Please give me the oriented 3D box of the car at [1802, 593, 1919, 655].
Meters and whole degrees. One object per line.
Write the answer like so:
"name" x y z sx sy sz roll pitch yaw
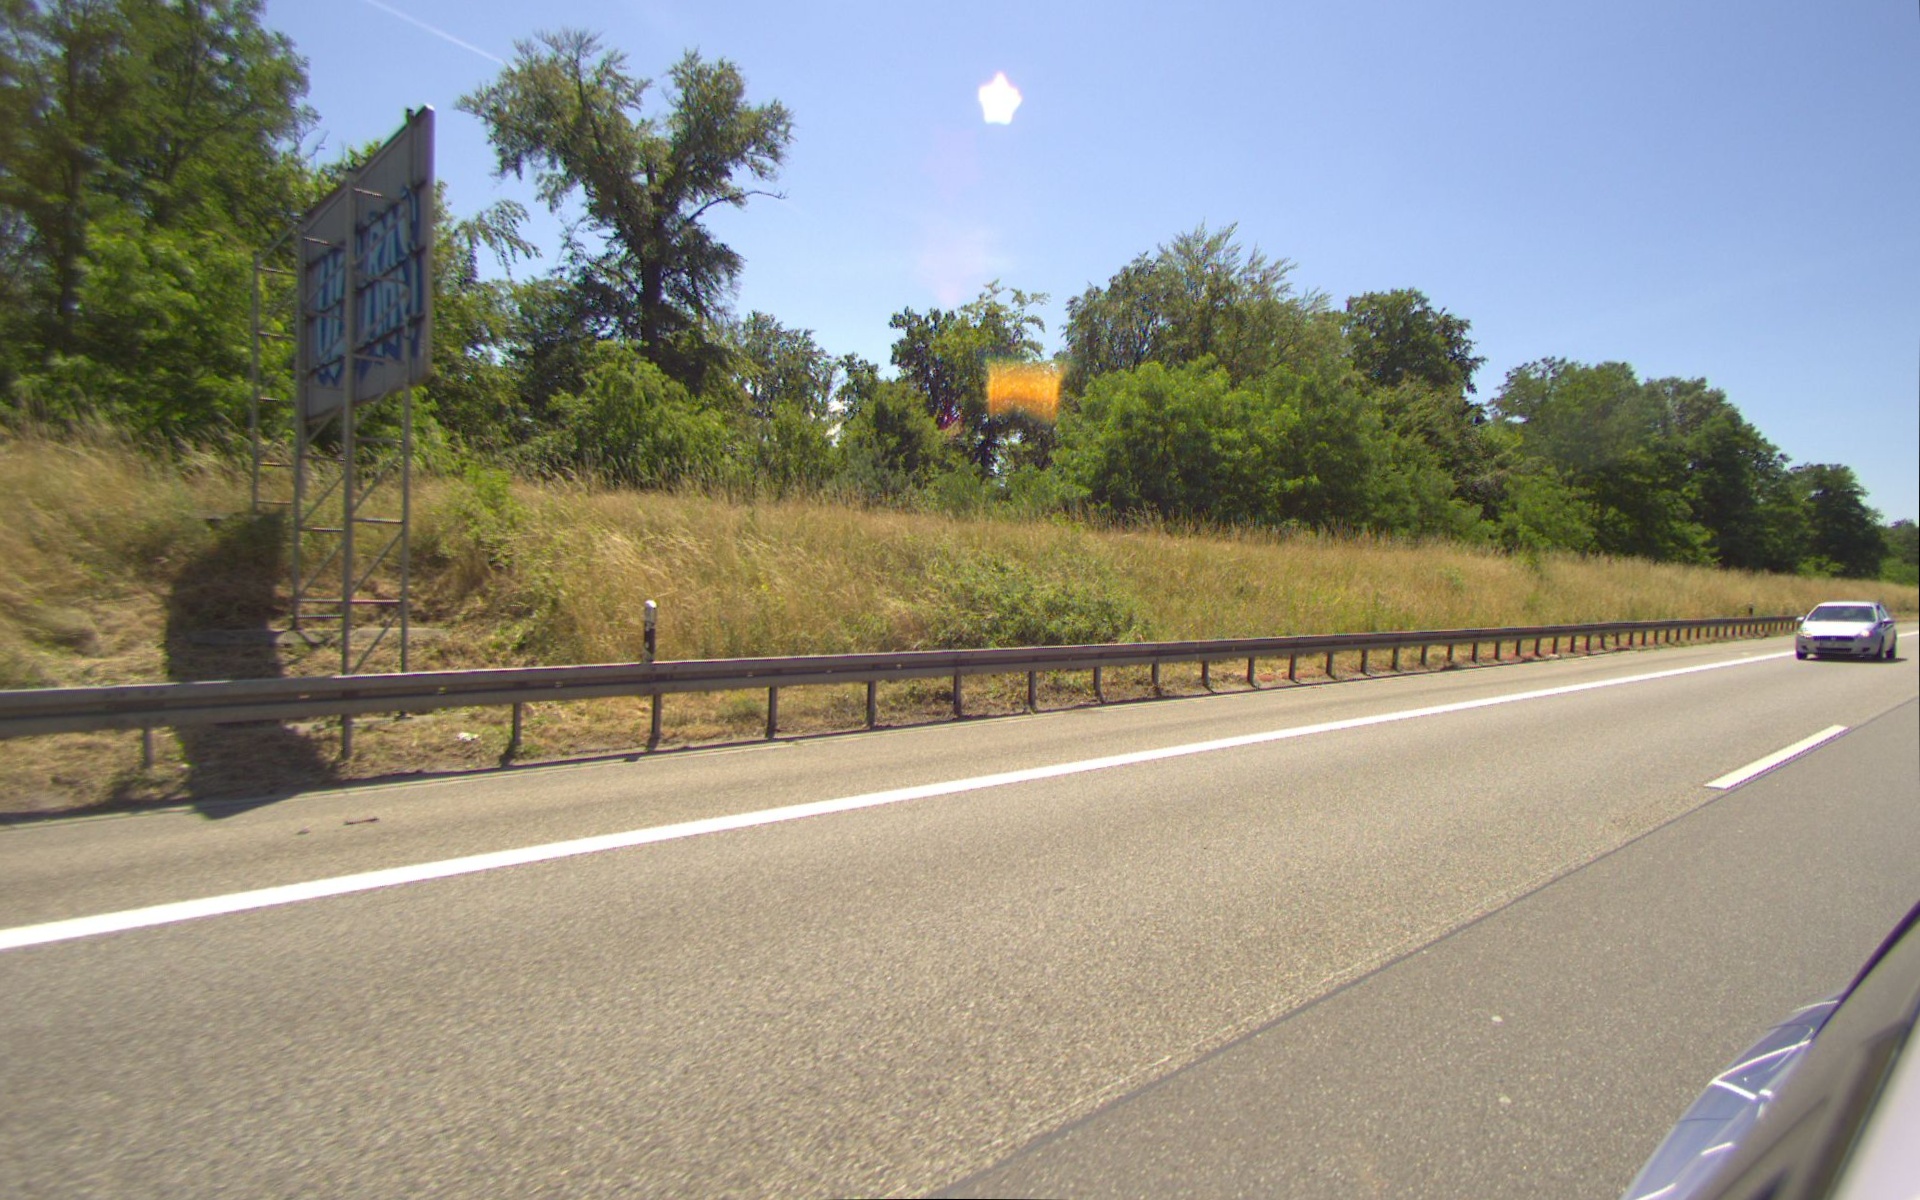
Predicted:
"car" 23.223 0.559 26.044 3.910 1.484 1.748 0 0 -40
